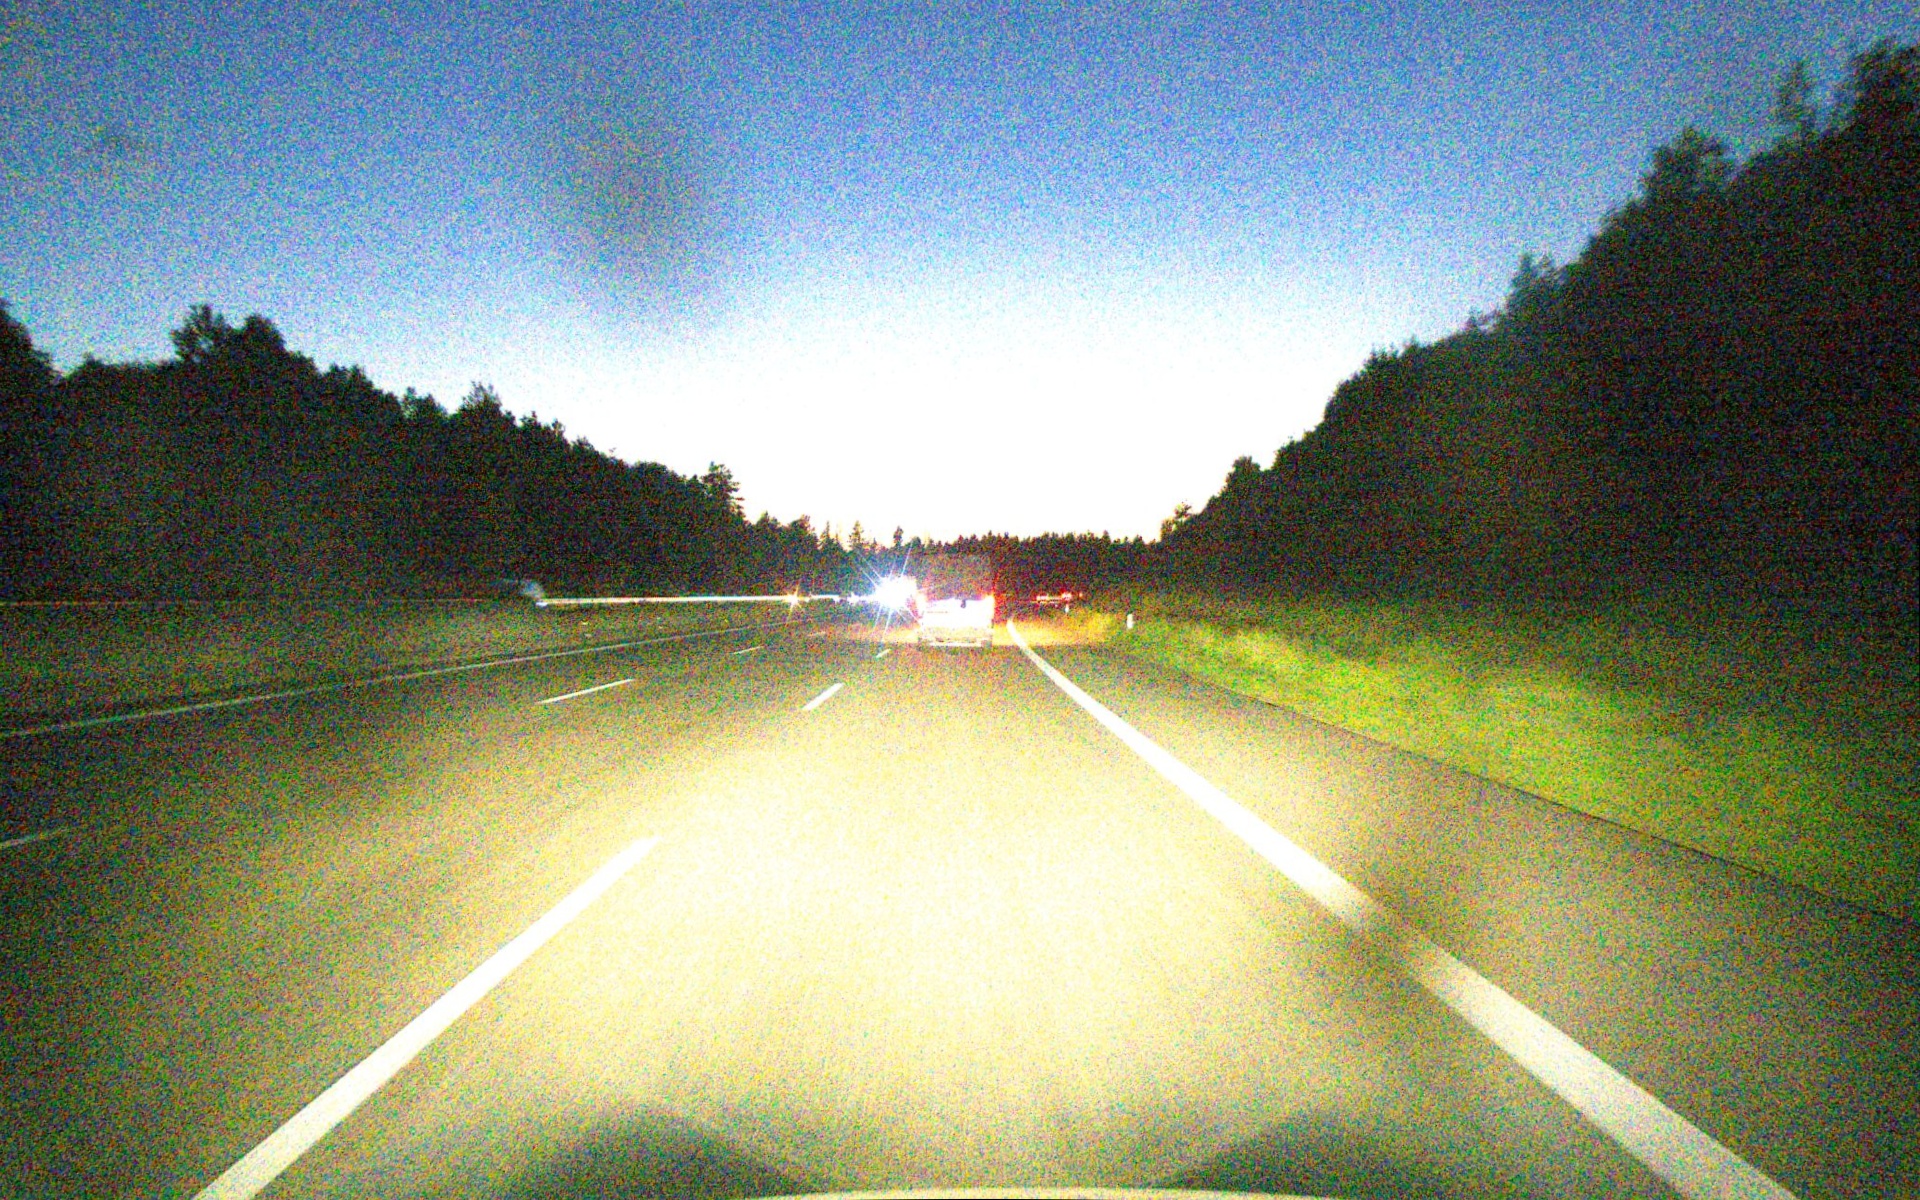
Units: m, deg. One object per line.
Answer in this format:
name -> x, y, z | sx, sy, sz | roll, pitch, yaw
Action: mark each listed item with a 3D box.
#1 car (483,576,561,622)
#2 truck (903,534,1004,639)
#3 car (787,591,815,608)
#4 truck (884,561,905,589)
car -> -17.855, -0.035, 67.592 | 1.952, 1.818, 4.399 | 1, 0, 0
truck -> -0.183, -0.323, 46.772 | 2.576, 2.670, 8.684 | 1, 0, 0
car -> -15.333, -0.044, 159.276 | 1.951, 1.679, 4.401 | 1, 0, 4
truck -> -10.113, -3.858, 256.323 | 2.657, 4.272, 5.423 | 1, 0, 4
